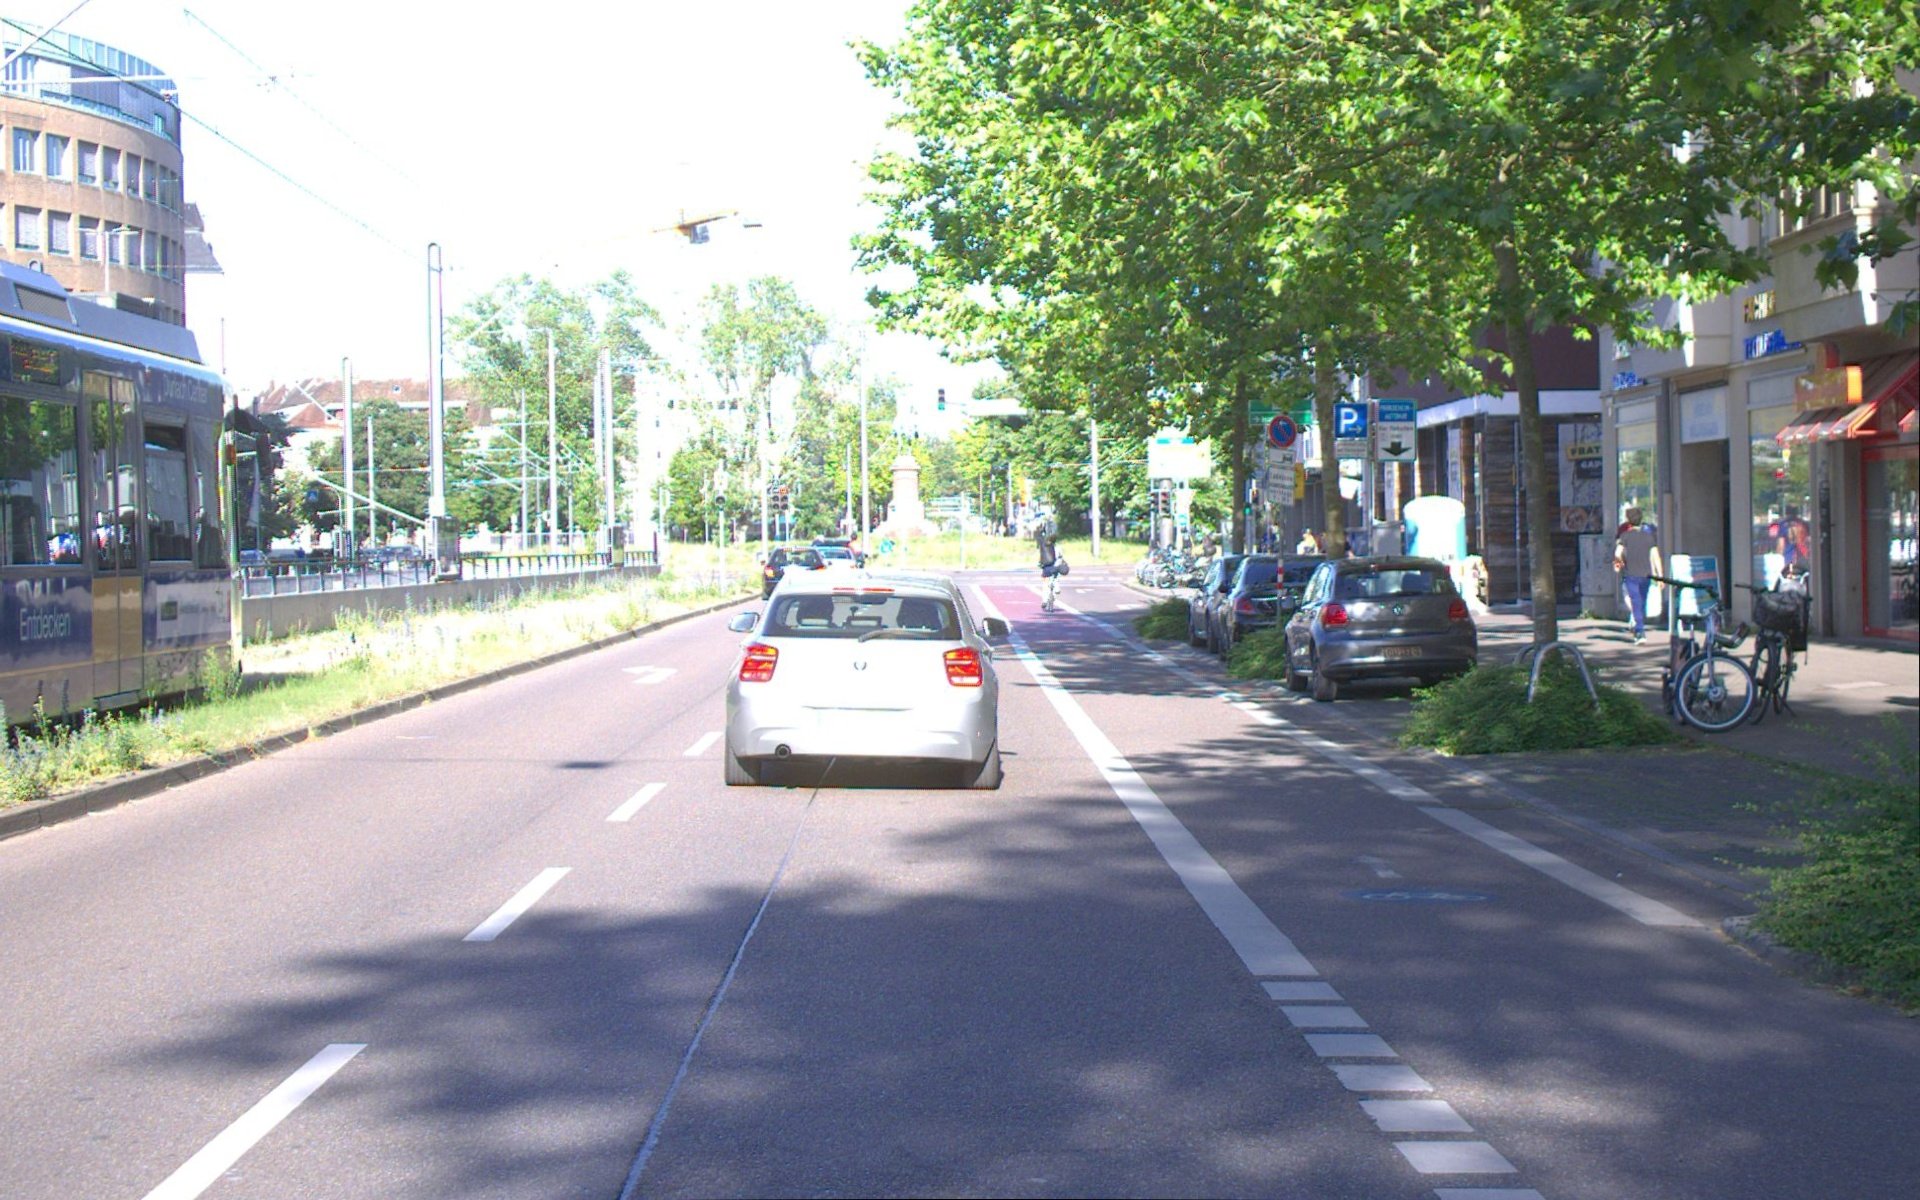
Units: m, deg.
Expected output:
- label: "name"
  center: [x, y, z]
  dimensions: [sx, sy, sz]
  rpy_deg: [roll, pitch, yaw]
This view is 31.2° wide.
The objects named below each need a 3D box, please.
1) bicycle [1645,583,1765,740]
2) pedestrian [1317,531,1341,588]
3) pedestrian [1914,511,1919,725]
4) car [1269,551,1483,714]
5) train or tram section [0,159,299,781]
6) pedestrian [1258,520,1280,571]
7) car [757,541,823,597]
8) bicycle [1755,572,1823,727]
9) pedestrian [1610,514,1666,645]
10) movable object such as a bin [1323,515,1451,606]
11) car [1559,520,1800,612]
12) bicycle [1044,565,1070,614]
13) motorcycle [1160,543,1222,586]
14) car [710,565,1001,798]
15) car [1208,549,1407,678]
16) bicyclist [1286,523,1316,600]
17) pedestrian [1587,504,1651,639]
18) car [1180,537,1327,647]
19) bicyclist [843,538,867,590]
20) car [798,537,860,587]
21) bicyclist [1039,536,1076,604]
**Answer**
- label: "bicycle"
  center: [5.995, 0.485, 27.732]
  dimensions: [0.392, 1.211, 1.903]
  rpy_deg: [-2, 0, -4]
- label: "pedestrian"
  center: [10.294, -1.124, 95.914]
  dimensions: [0.573, 1.577, 0.556]
  rpy_deg: [-1, 1, 0]
- label: "pedestrian"
  center: [8.039, 0.137, 26.862]
  dimensions: [0.859, 1.699, 0.917]
  rpy_deg: [-1, 1, -2]
- label: "car"
  center: [4.325, 0.302, 36.248]
  dimensions: [1.694, 1.497, 3.802]
  rpy_deg: [-3, 1, 0]
- label: "train or tram section"
  center: [-7.497, -0.896, 25.900]
  dimensions: [2.952, 3.883, 10.803]
  rpy_deg: [1, 1, 0]
- label: "pedestrian"
  center: [12.236, -2.144, 136.100]
  dimensions: [0.791, 2.007, 0.870]
  rpy_deg: [1, 1, 7]
- label: "car"
  center: [-4.542, -0.841, 92.031]
  dimensions: [1.726, 1.465, 4.411]
  rpy_deg: [0, 1, -3]
- label: "bicycle"
  center: [6.780, 0.386, 28.076]
  dimensions: [0.386, 1.203, 1.872]
  rpy_deg: [0, 1, 18]
- label: "pedestrian"
  center: [8.887, -0.273, 45.097]
  dimensions: [0.558, 1.705, 0.770]
  rpy_deg: [-1, 1, 0]
- label: "movable object such as a bin"
  center: [9.075, -0.869, 73.291]
  dimensions: [1.945, 1.837, 3.481]
  rpy_deg: [-1, 2, -6]
- label: "car"
  center: [14.058, -0.656, 67.350]
  dimensions: [4.299, 1.782, 1.995]
  rpy_deg: [0, 0, 0]
- label: "bicycle"
  center: [2.183, -0.241, 77.769]
  dimensions: [0.499, 1.085, 1.997]
  rpy_deg: [1, 1, 0]
- label: "motorcycle"
  center: [7.058, -1.092, 105.010]
  dimensions: [1.855, 1.296, 0.652]
  rpy_deg: [-1, 1, 3]
- label: "car"
  center: [-0.673, 0.488, 23.396]
  dimensions: [1.798, 1.410, 4.000]
  rpy_deg: [0, 1, -1]
- label: "car"
  center: [4.376, 0.127, 43.917]
  dimensions: [2.038, 1.504, 4.594]
  rpy_deg: [0, 1, 0]
- label: "bicyclist"
  center: [7.583, -0.861, 76.417]
  dimensions: [0.601, 1.684, 0.597]
  rpy_deg: [-1, 1, 10]
- label: "pedestrian"
  center: [9.381, -0.403, 48.948]
  dimensions: [0.714, 1.893, 0.863]
  rpy_deg: [-1, 1, 0]
- label: "car"
  center: [4.350, -0.159, 51.512]
  dimensions: [1.789, 1.550, 4.436]
  rpy_deg: [-1, 1, 0]
- label: "bicyclist"
  center: [-3.242, -1.112, 105.721]
  dimensions: [0.616, 1.566, 0.686]
  rpy_deg: [-1, 1, -12]
- label: "car"
  center: [-3.791, -1.108, 100.080]
  dimensions: [1.644, 1.416, 4.000]
  rpy_deg: [1, 1, 0]
- label: "bicyclist"
  center: [2.213, -0.682, 77.826]
  dimensions: [0.785, 1.526, 0.895]
  rpy_deg: [1, 1, 0]
